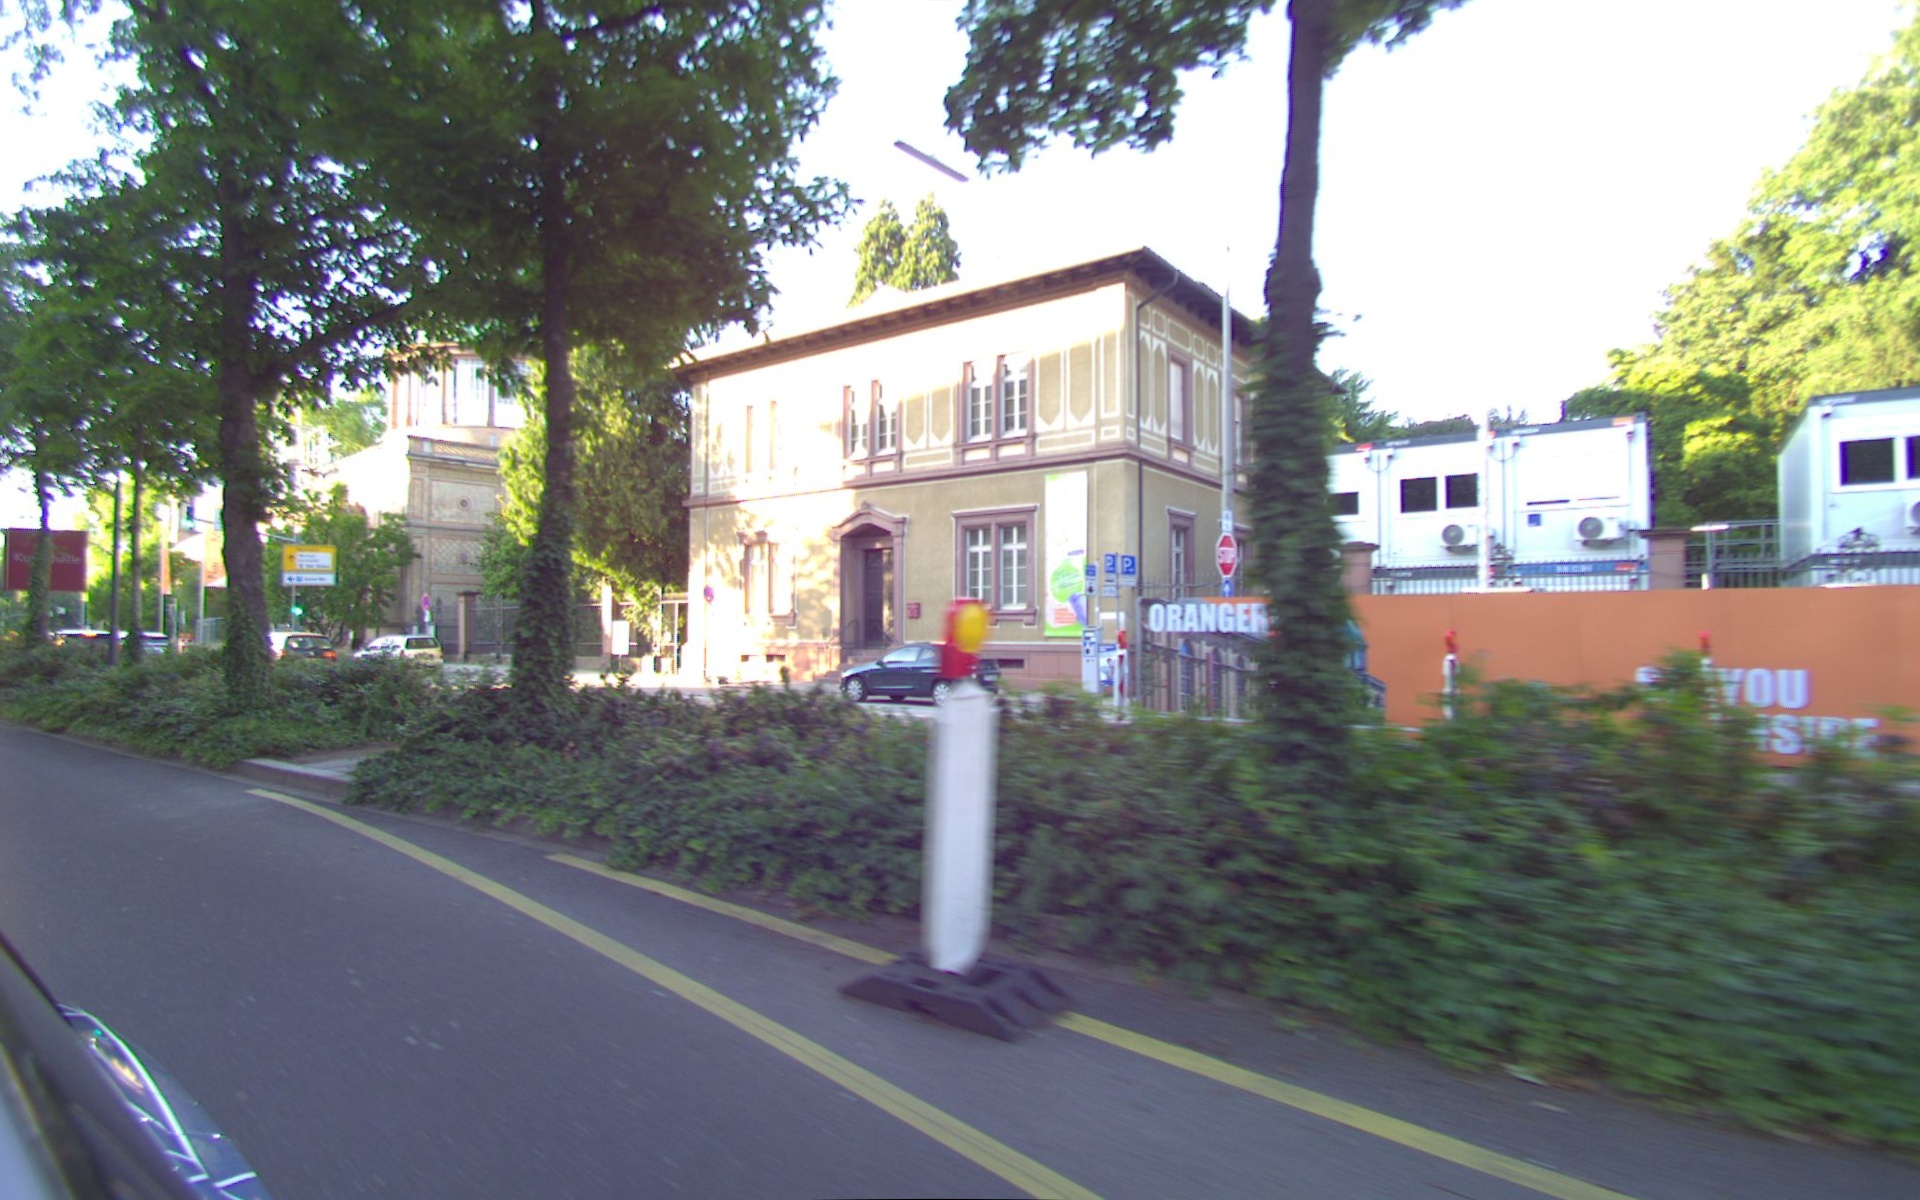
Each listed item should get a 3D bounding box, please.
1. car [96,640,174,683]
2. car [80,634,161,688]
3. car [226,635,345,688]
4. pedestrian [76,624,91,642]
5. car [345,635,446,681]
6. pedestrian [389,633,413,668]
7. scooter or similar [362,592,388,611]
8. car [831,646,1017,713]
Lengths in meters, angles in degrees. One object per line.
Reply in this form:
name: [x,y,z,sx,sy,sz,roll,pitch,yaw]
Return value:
car: [-34.067,2.509,41.751,4.555,1.687,1.822,-2,-5,42]
car: [-26.399,1.887,31.792,1.822,1.559,4.124,2,-3,-41]
car: [-21.086,1.901,31.586,4.169,1.563,1.825,-2,-4,38]
pedestrian: [-84.980,3.219,98.081,0.795,1.751,0.852,0,-2,-19]
car: [-20.933,2.120,37.475,4.363,1.559,1.728,-2,-2,38]
pedestrian: [-25.838,2.311,46.768,0.762,1.591,0.728,-3,-3,40]
scooter or similar: [-26.500,0.066,45.840,1.027,0.783,0.671,-2,-3,39]
car: [-0.823,1.701,22.252,3.877,1.361,1.665,-2,-4,35]
